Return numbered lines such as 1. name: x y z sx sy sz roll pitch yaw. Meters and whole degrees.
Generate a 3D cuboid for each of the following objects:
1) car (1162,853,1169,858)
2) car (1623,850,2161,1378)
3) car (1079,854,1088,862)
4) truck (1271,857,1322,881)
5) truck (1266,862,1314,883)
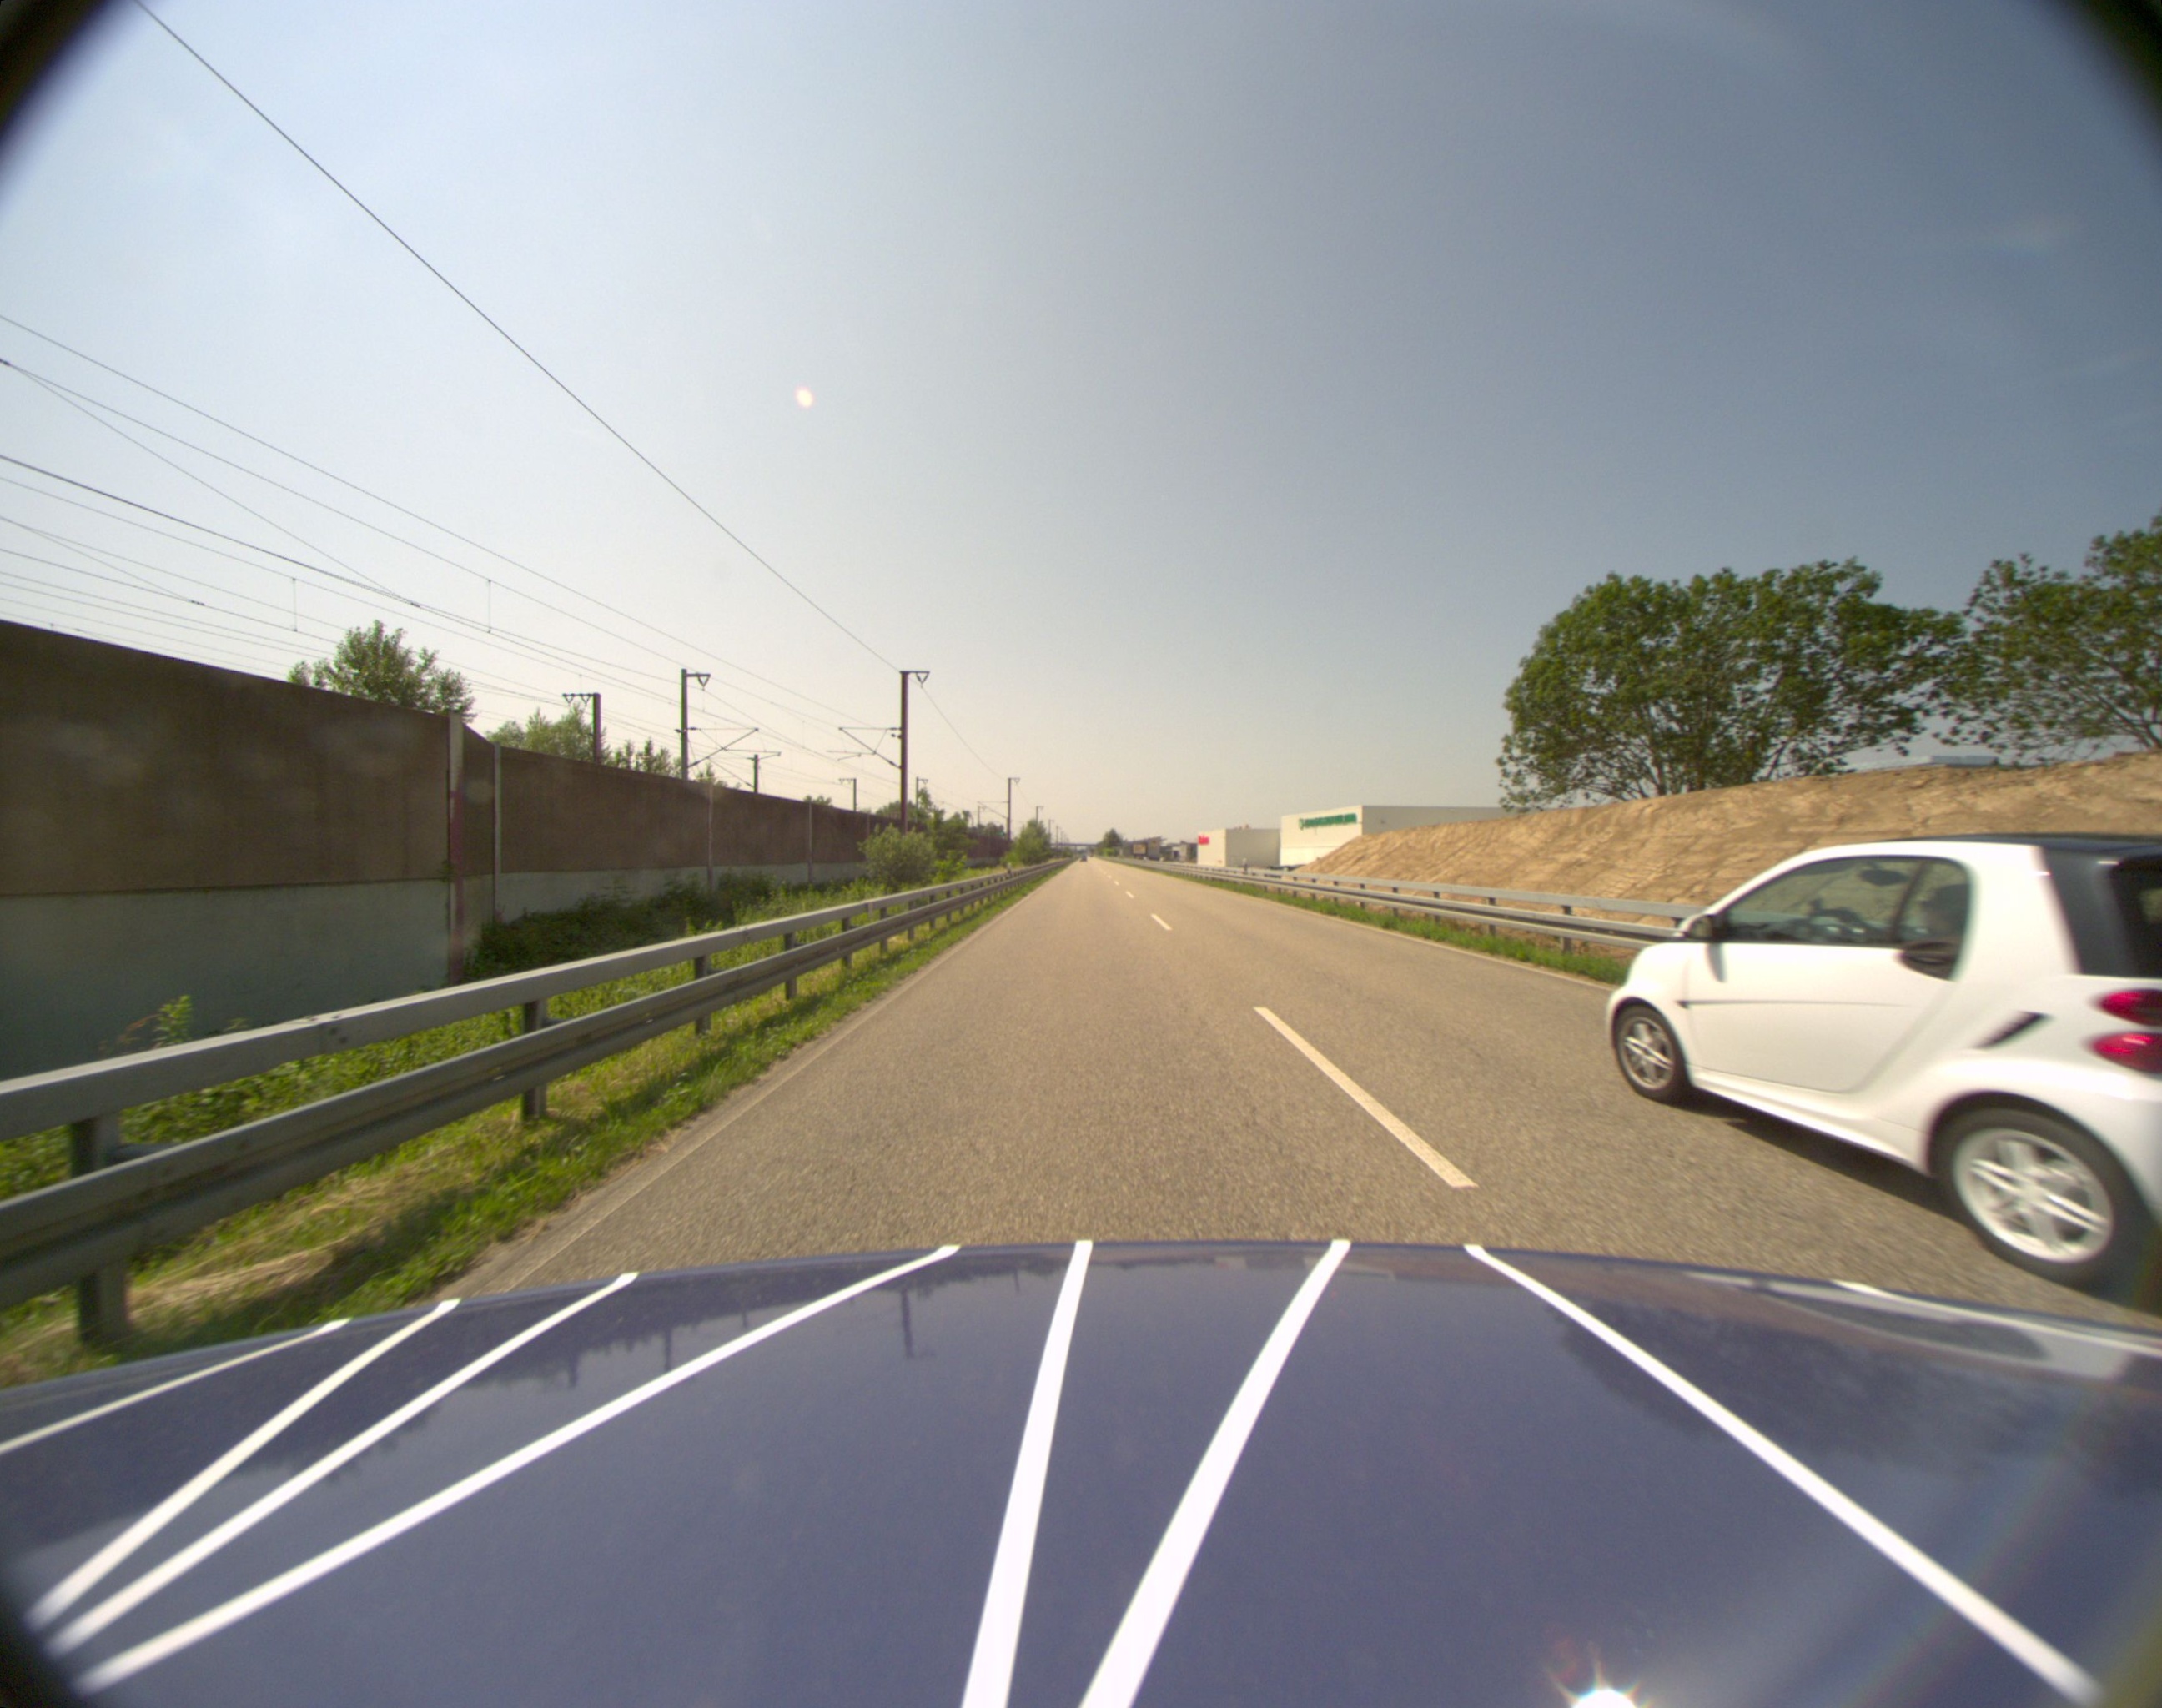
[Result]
1. car: 28.153 0.464 254.007 1.555 1.664 3.311 1 0 -5
2. car: 4.020 0.774 2.595 1.599 1.567 3.828 -1 0 0
3. car: 0.706 0.967 183.507 1.999 2.002 3.999 -1 0 -2
4. truck: 24.059 1.694 84.989 5.058 2.523 2.272 -1 1 -2
5. truck: 24.456 2.168 89.100 5.021 2.320 2.232 -1 0 0
